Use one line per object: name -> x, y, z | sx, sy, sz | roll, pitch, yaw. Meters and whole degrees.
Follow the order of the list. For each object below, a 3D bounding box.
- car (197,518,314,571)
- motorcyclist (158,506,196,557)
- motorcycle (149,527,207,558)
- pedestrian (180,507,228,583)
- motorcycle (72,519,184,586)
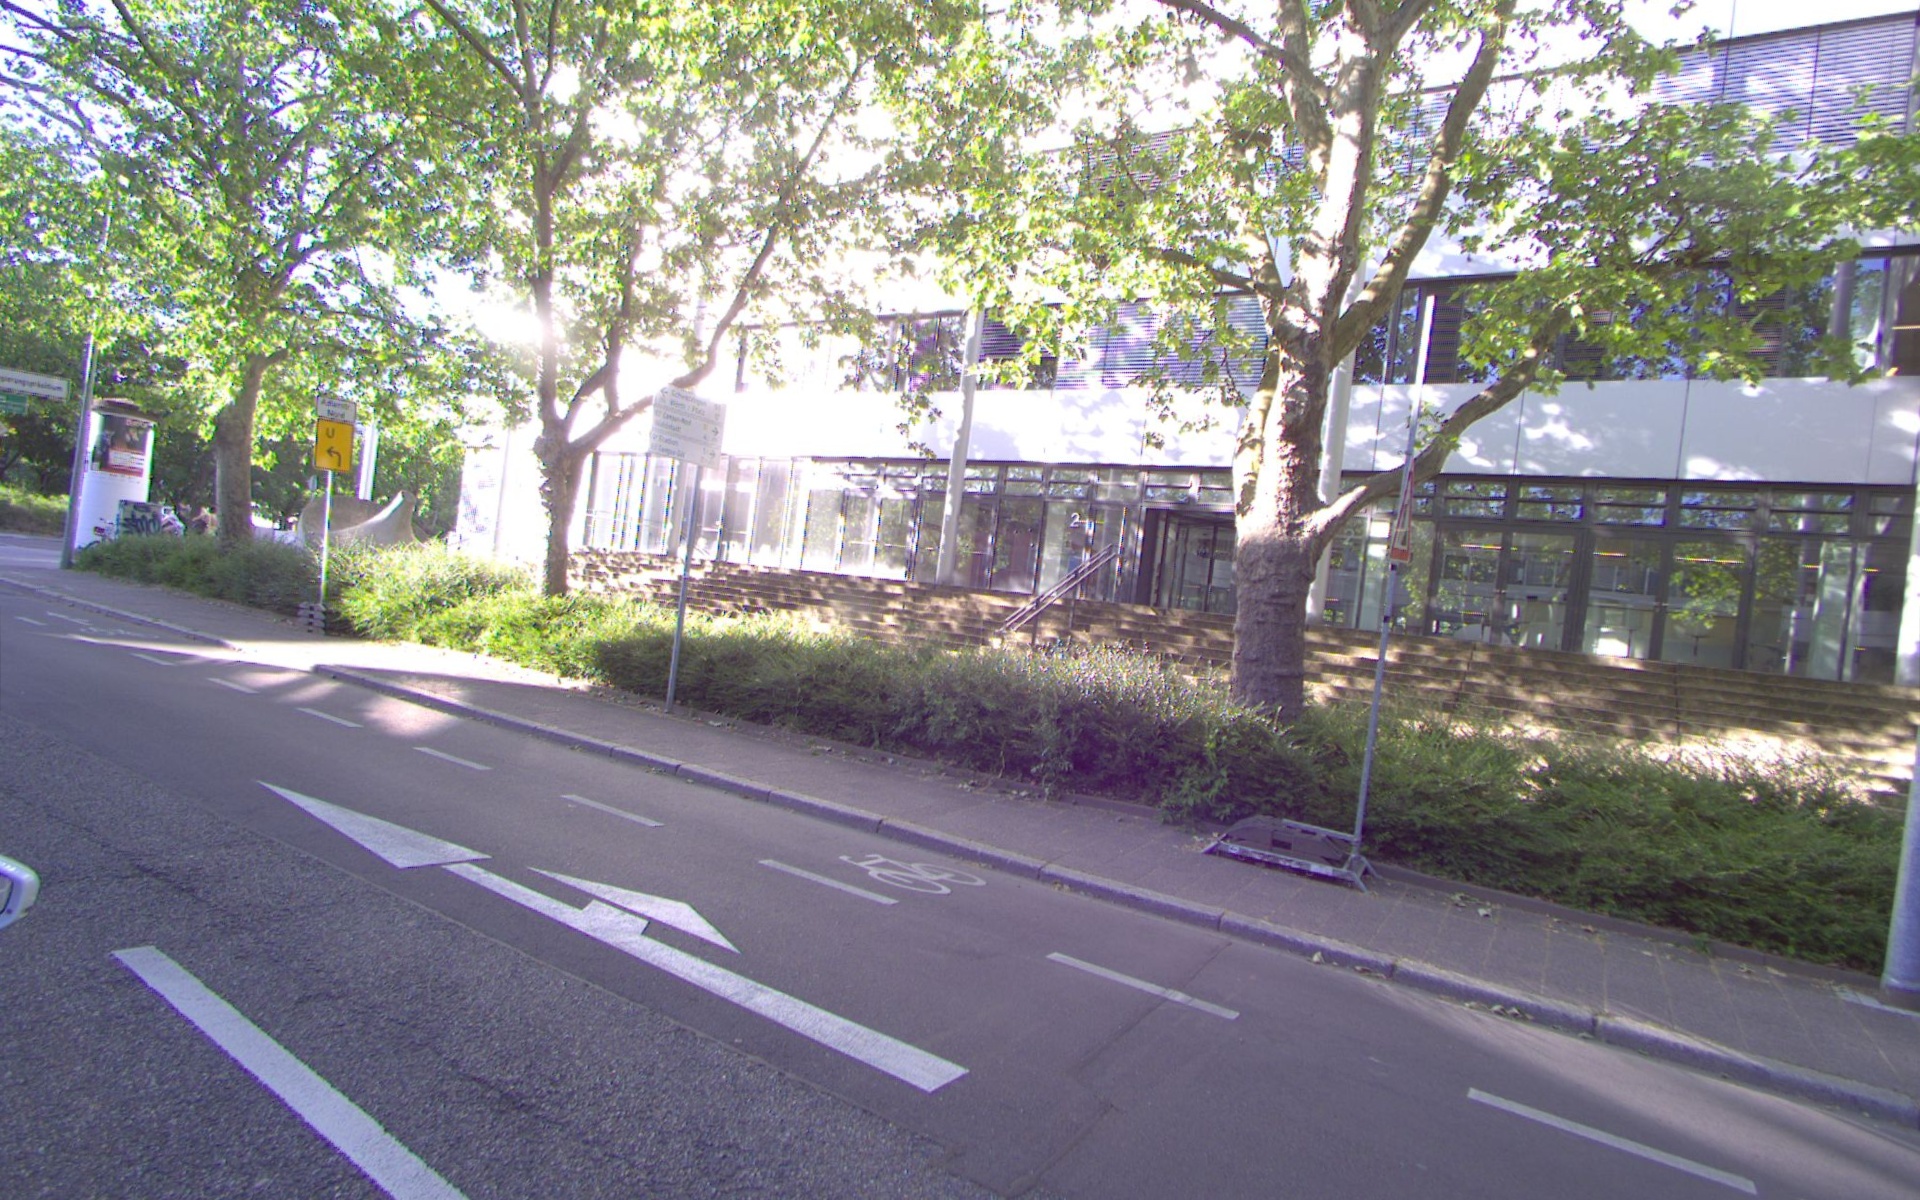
car -> -32.706, -2.564, 46.830 | 1.708, 1.792, 3.996 | 7, -1, 30
motorcyclist -> -31.377, -2.753, 40.322 | 0.370, 1.899, 0.983 | 6, -1, 36
motorcycle -> -31.381, -2.302, 40.386 | 0.409, 1.014, 1.720 | 7, -1, 36
pedestrian -> -19.554, -1.415, 26.027 | 0.656, 1.849, 0.648 | 7, 0, 31
motorcycle -> -19.232, -1.093, 23.288 | 0.712, 1.257, 1.782 | 6, -2, 37
